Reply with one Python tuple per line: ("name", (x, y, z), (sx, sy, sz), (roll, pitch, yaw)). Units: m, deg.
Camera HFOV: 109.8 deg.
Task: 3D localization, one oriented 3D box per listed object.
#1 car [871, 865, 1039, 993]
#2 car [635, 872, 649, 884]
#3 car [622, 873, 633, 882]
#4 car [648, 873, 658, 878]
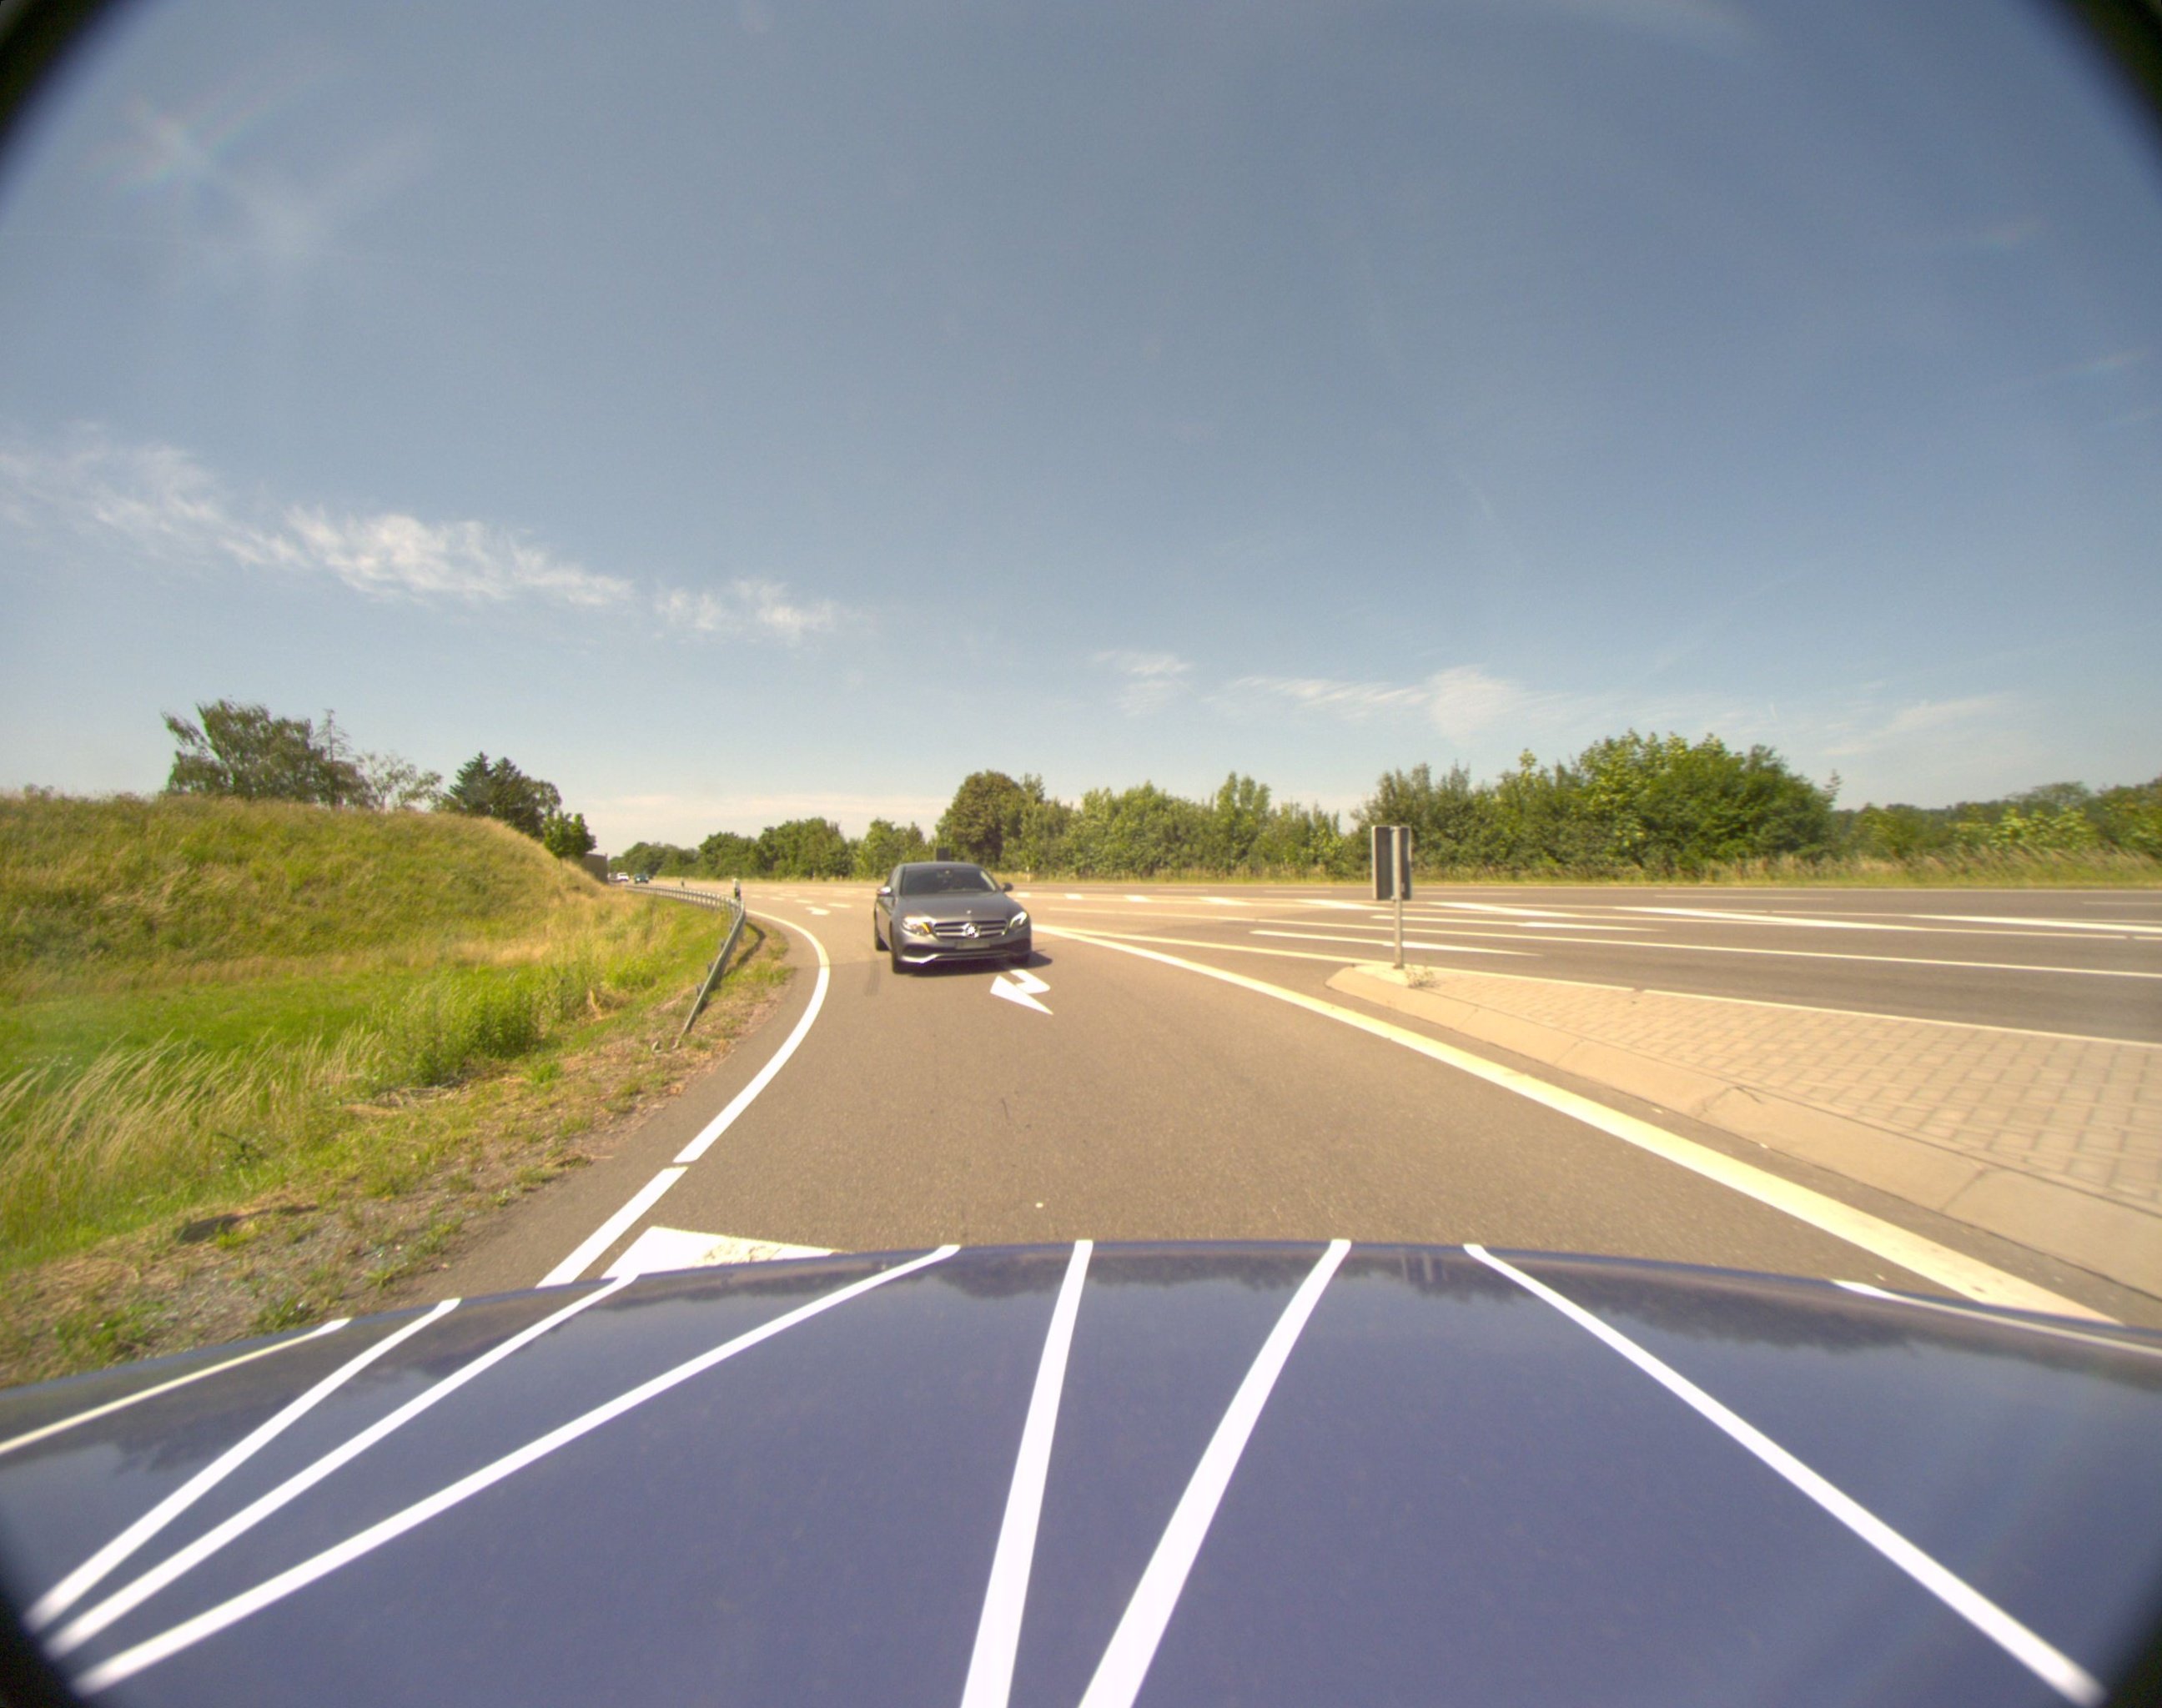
("car", (-2.147, 0.953, 11.720), (1.896, 1.439, 4.519), (-2, 0, -17))
("car", (-73.892, 4.024, 127.872), (1.805, 1.674, 3.990), (-3, 2, -32))
("car", (-97.917, 5.066, 164.034), (1.805, 1.674, 3.990), (-3, 2, -32))
("car", (-123.813, 6.172, 219.698), (1.887, 1.390, 4.520), (-3, 1, -35))
